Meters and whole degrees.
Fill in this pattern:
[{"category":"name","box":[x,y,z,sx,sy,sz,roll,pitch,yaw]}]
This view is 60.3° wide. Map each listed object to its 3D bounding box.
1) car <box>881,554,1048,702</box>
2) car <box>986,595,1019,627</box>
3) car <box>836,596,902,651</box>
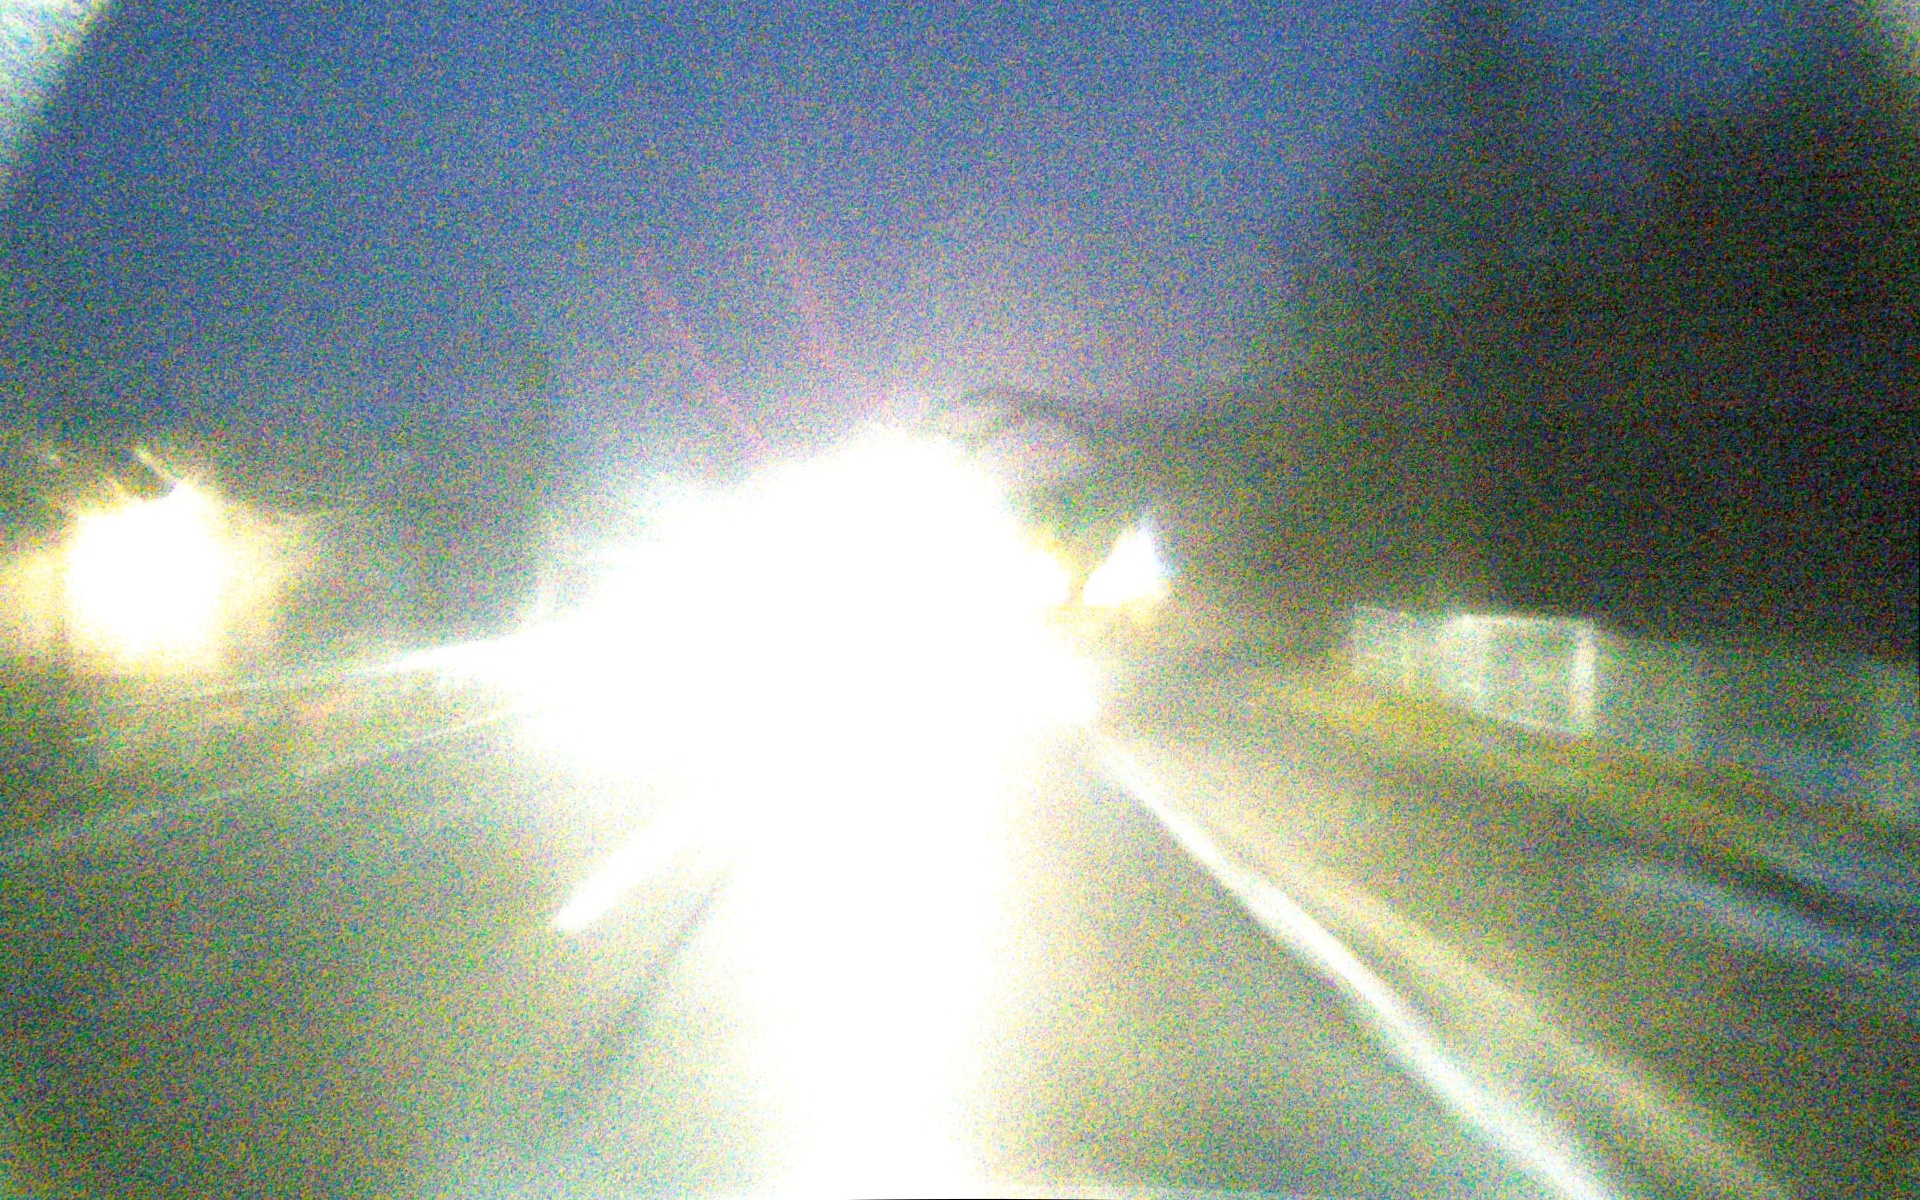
[{"category":"car","box":[0.140,0.383,29.609,2.659,2.348,6.102,-1,1,1]},{"category":"car","box":[2.731,0.720,107.872,1.953,1.948,4.000,2,0,0]},{"category":"car","box":[-2.878,0.726,52.882,1.850,1.666,4.156,0,0,0]}]
